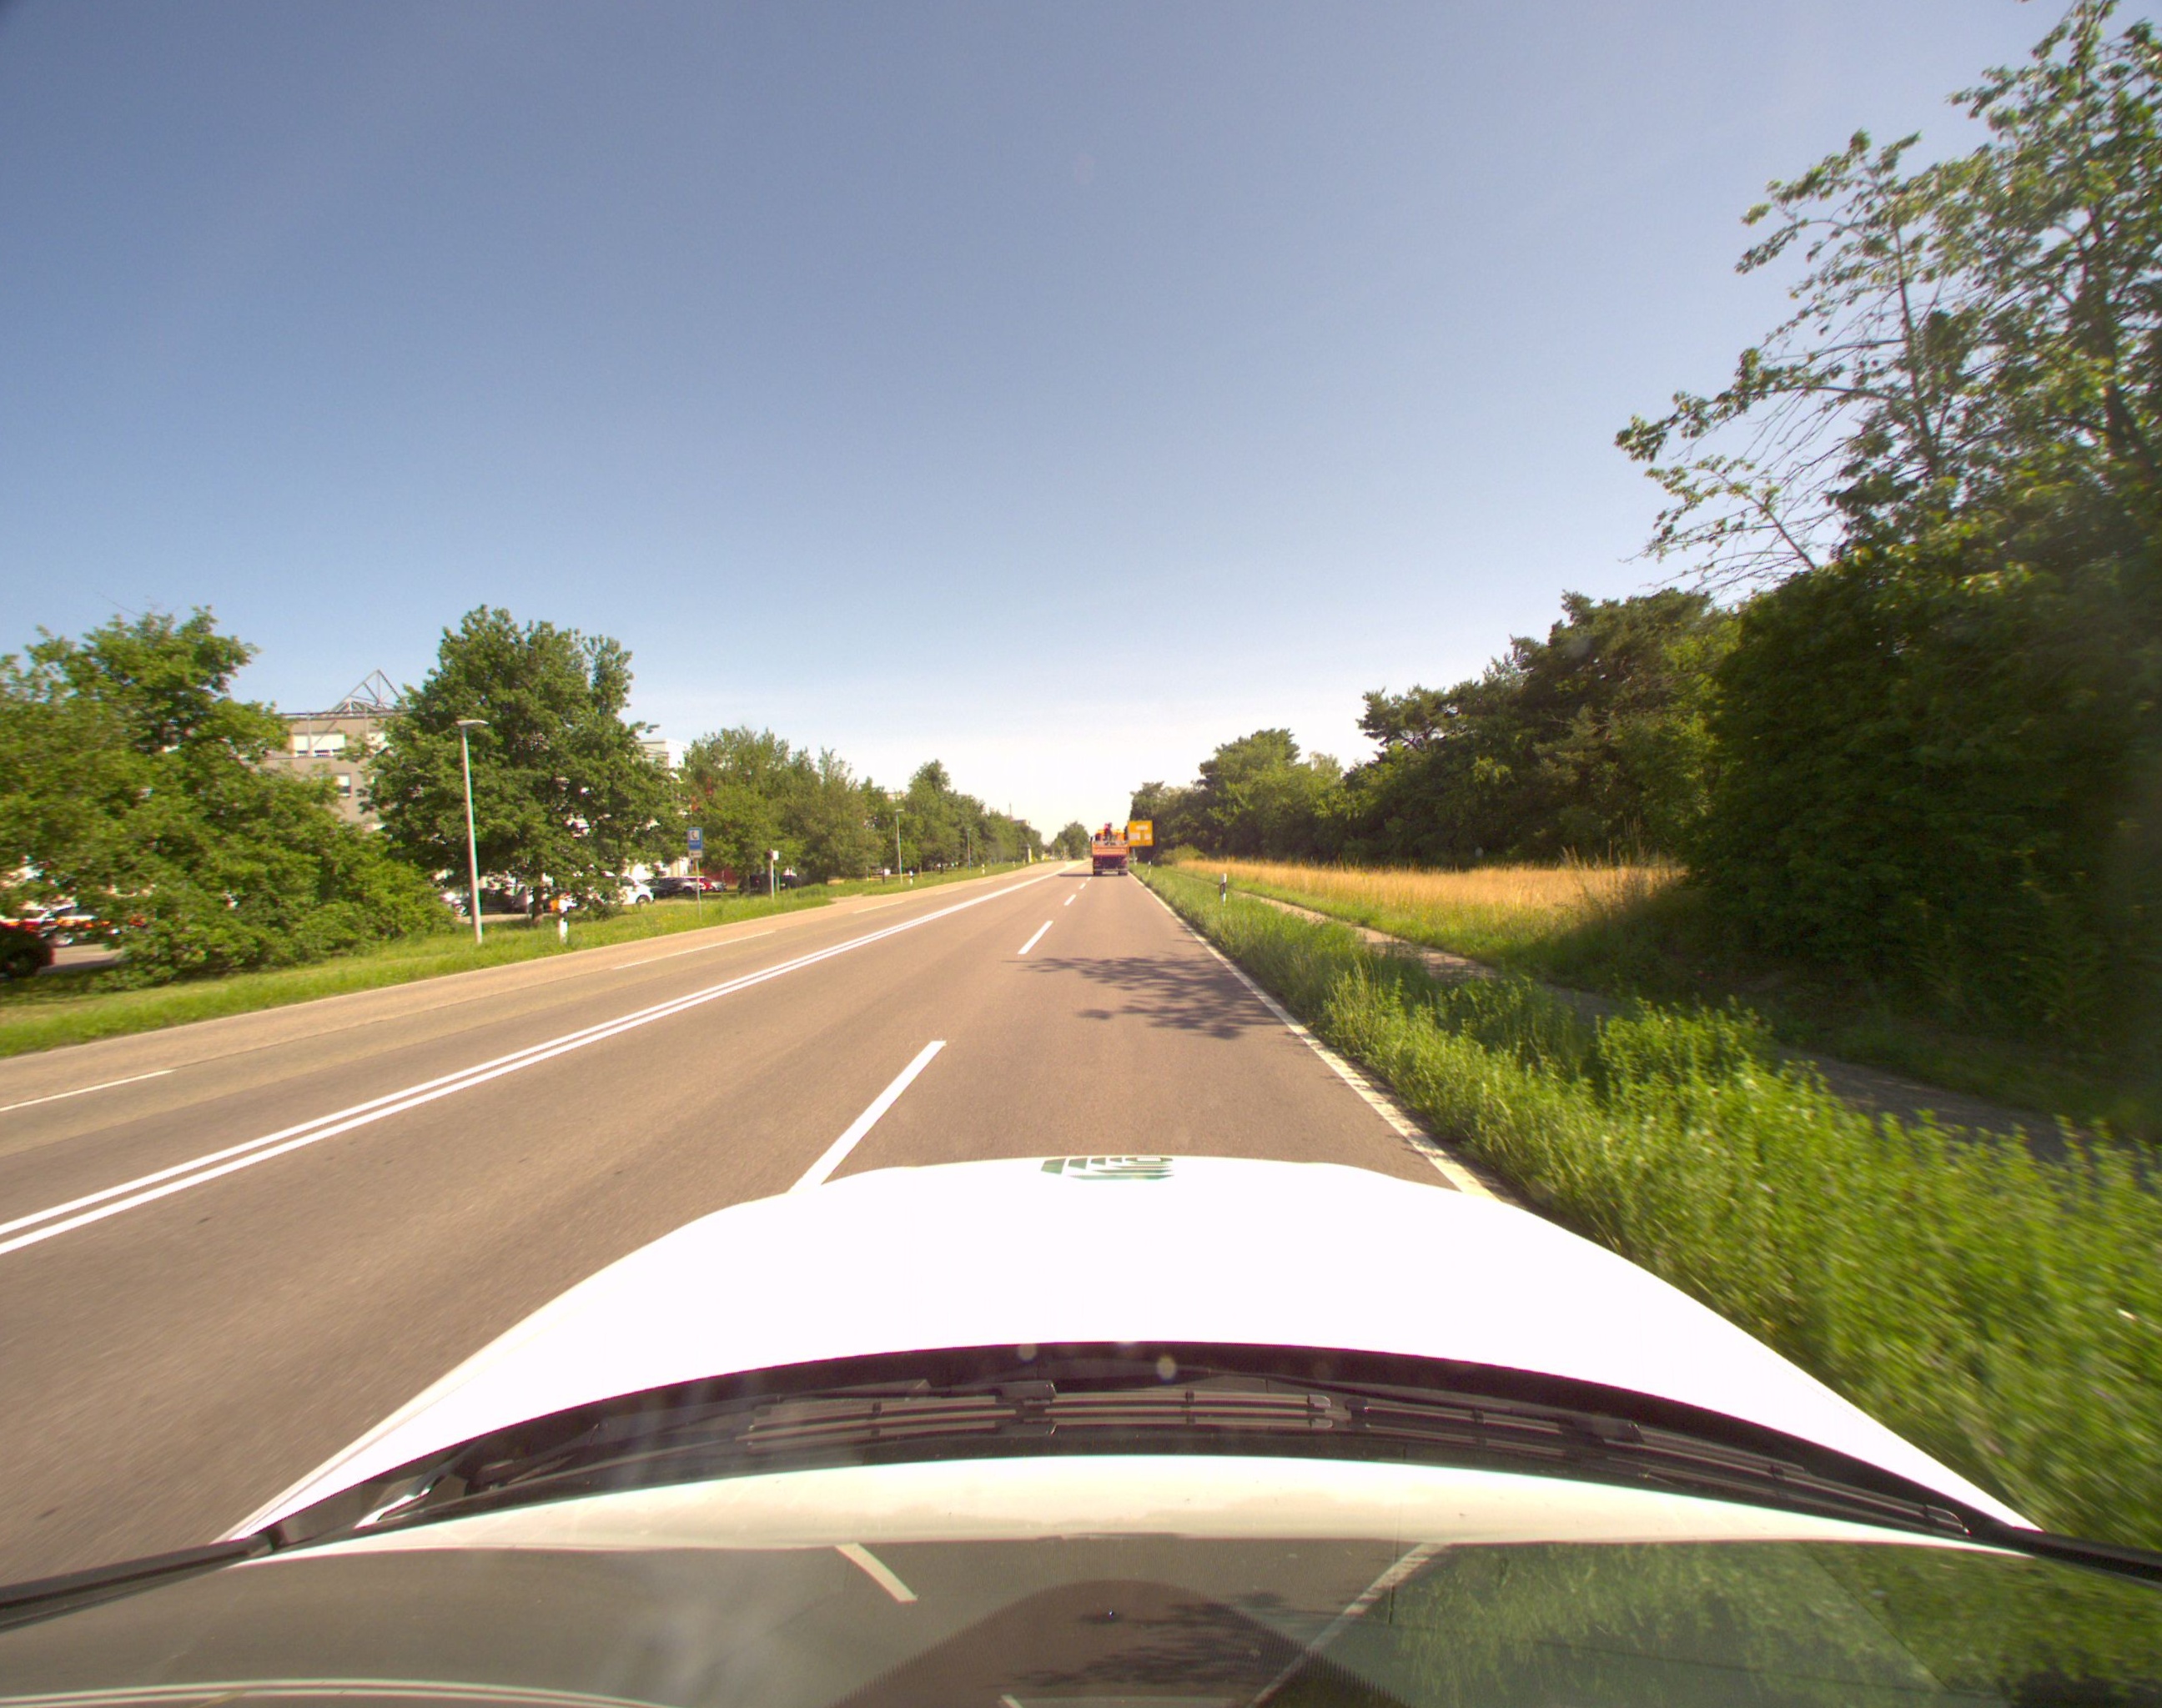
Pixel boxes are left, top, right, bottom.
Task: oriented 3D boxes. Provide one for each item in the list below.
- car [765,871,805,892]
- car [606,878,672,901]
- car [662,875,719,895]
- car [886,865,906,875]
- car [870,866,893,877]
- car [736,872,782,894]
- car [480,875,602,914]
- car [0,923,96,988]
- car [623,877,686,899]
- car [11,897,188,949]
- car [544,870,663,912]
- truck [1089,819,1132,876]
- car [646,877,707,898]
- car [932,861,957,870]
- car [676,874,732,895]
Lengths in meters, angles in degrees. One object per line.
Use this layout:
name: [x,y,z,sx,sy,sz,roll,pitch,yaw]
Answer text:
car: [-25.924,2.392,71.473,1.736,1.578,4.550,-3,0,2]
car: [-33.803,2.721,62.389,3.973,1.536,1.888,-3,0,0]
car: [-33.797,2.673,70.514,3.973,1.536,1.743,-3,0,0]
car: [-30.534,2.584,134.522,1.986,1.437,4.612,-2,0,2]
car: [-30.478,2.611,124.551,1.985,1.437,4.959,-2,0,3]
car: [-26.033,2.302,66.037,1.736,1.578,4.550,-3,0,2]
car: [-28.977,2.155,43.904,2.047,1.806,5.048,-2,0,32]
car: [-25.859,2.461,18.626,1.666,1.350,4.002,-3,0,2]
car: [-34.111,2.687,65.148,3.973,1.536,1.888,-3,0,0]
car: [-38.721,2.664,32.320,1.849,1.658,4.170,-2,0,2]
car: [-25.354,1.938,43.436,2.047,1.929,5.048,-2,0,32]
truck: [2.037,-0.461,59.624,2.863,3.880,7.398,0,0,0]
car: [-33.461,2.771,67.444,3.973,1.536,1.888,-3,0,0]
car: [-26.920,2.310,160.606,4.578,1.650,2.001,-2,0,1]
car: [-33.672,2.695,72.839,4.121,1.585,1.743,-3,0,0]
